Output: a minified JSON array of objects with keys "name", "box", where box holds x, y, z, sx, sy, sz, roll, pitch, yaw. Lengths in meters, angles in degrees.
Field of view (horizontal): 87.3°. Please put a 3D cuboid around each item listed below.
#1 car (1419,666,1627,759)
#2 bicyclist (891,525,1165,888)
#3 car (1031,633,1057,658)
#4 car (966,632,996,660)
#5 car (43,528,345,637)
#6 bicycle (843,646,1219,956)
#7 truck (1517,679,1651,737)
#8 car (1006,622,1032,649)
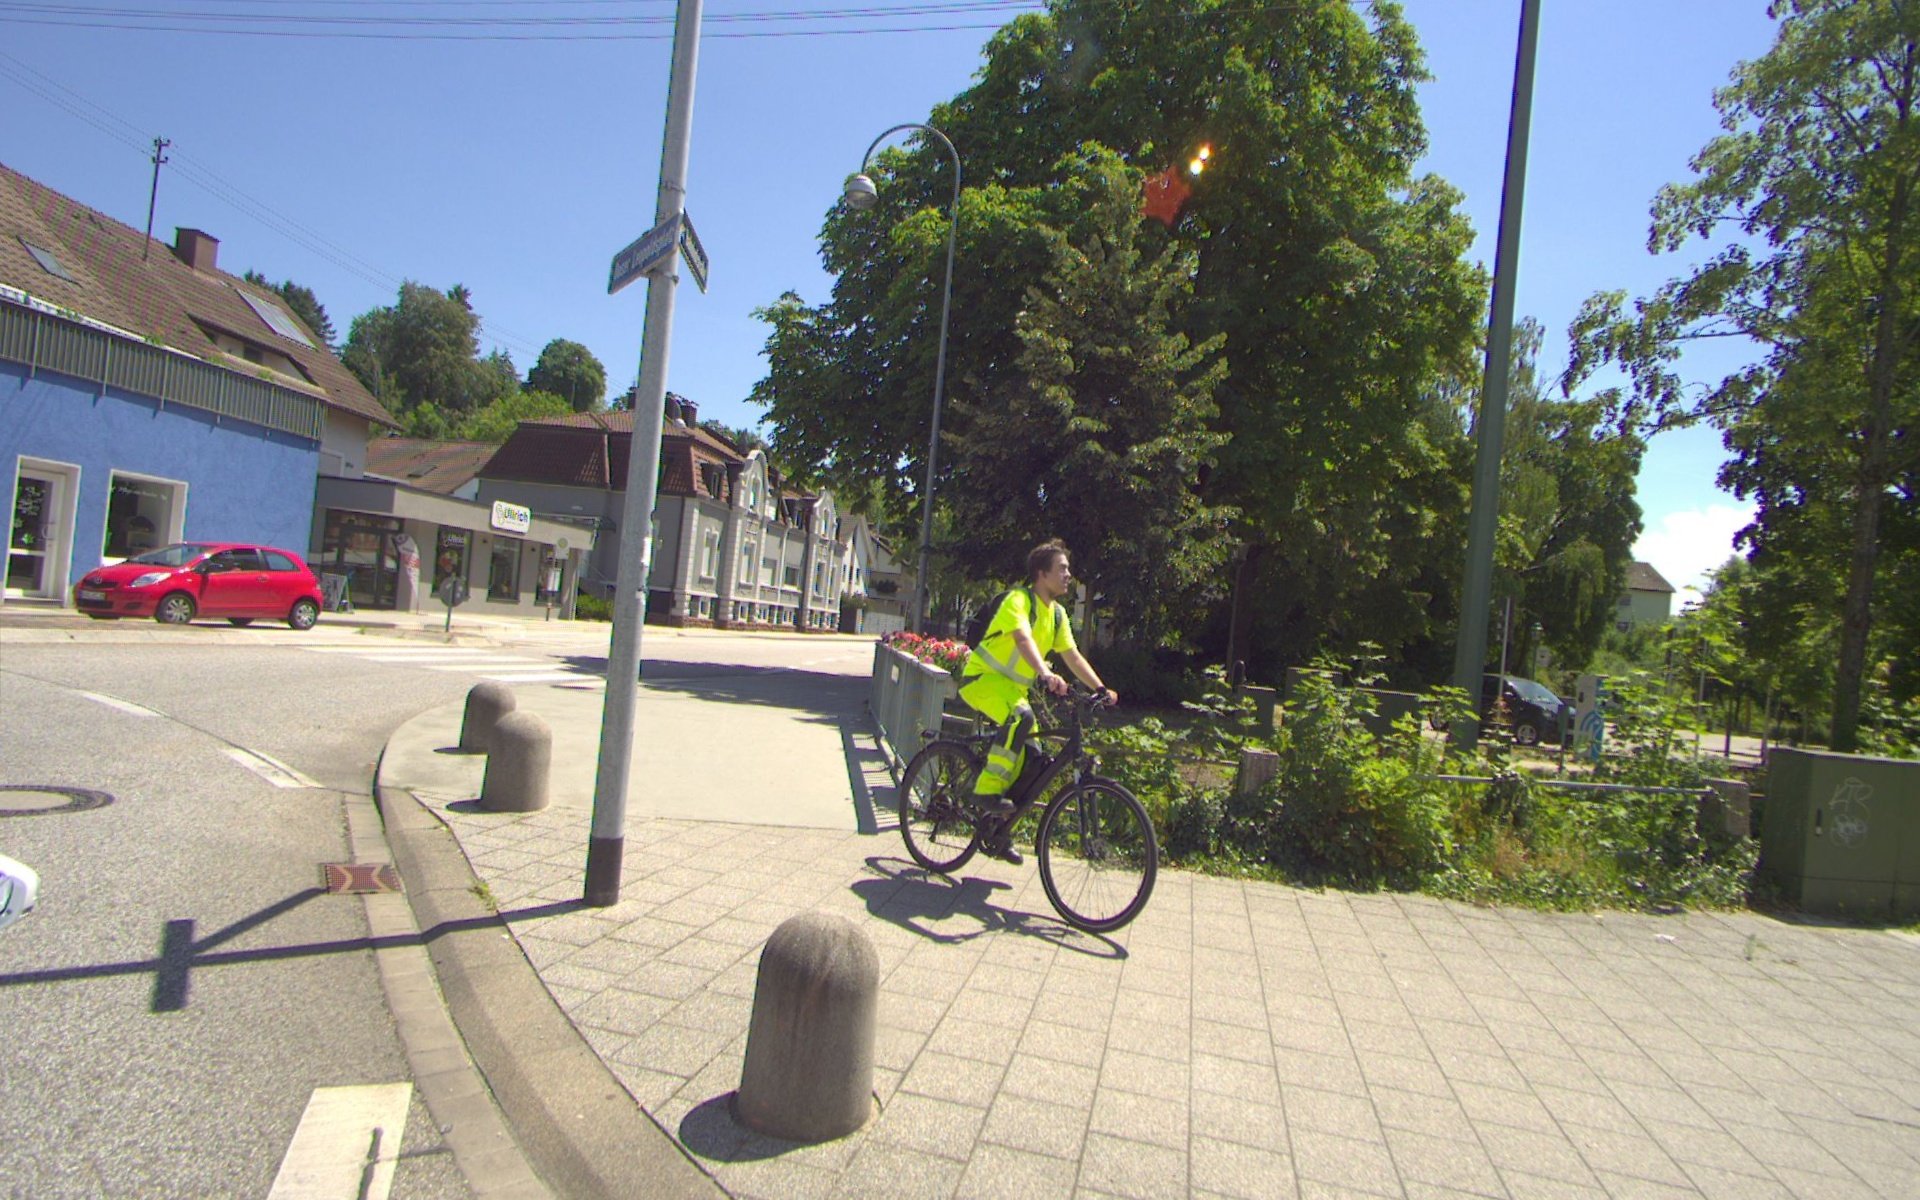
[{"name":"car","box":[13.218,2.600,23.902,1.816,1.621,3.983,6,-1,-20]},{"name":"bicyclist","box":[0.336,0.482,5.236,0.805,1.656,1.050,3,1,-43]},{"name":"car","box":[8.223,4.429,98.211,1.962,2.035,4.008,7,-3,10]},{"name":"car","box":[1.575,3.388,73.354,1.706,1.724,4.008,5,-4,7]},{"name":"car","box":[-13.476,-0.221,18.046,1.799,1.551,4.004,4,-2,13]},{"name":"bicycle","box":[0.292,0.914,5.240,0.804,1.171,1.830,4,1,-43]},{"name":"truck","box":[36.263,6.253,58.595,6.135,2.470,2.256,5,-4,43]},{"name":"car","box":[5.474,3.299,92.846,1.962,2.035,4.007,7,-3,7]}]
